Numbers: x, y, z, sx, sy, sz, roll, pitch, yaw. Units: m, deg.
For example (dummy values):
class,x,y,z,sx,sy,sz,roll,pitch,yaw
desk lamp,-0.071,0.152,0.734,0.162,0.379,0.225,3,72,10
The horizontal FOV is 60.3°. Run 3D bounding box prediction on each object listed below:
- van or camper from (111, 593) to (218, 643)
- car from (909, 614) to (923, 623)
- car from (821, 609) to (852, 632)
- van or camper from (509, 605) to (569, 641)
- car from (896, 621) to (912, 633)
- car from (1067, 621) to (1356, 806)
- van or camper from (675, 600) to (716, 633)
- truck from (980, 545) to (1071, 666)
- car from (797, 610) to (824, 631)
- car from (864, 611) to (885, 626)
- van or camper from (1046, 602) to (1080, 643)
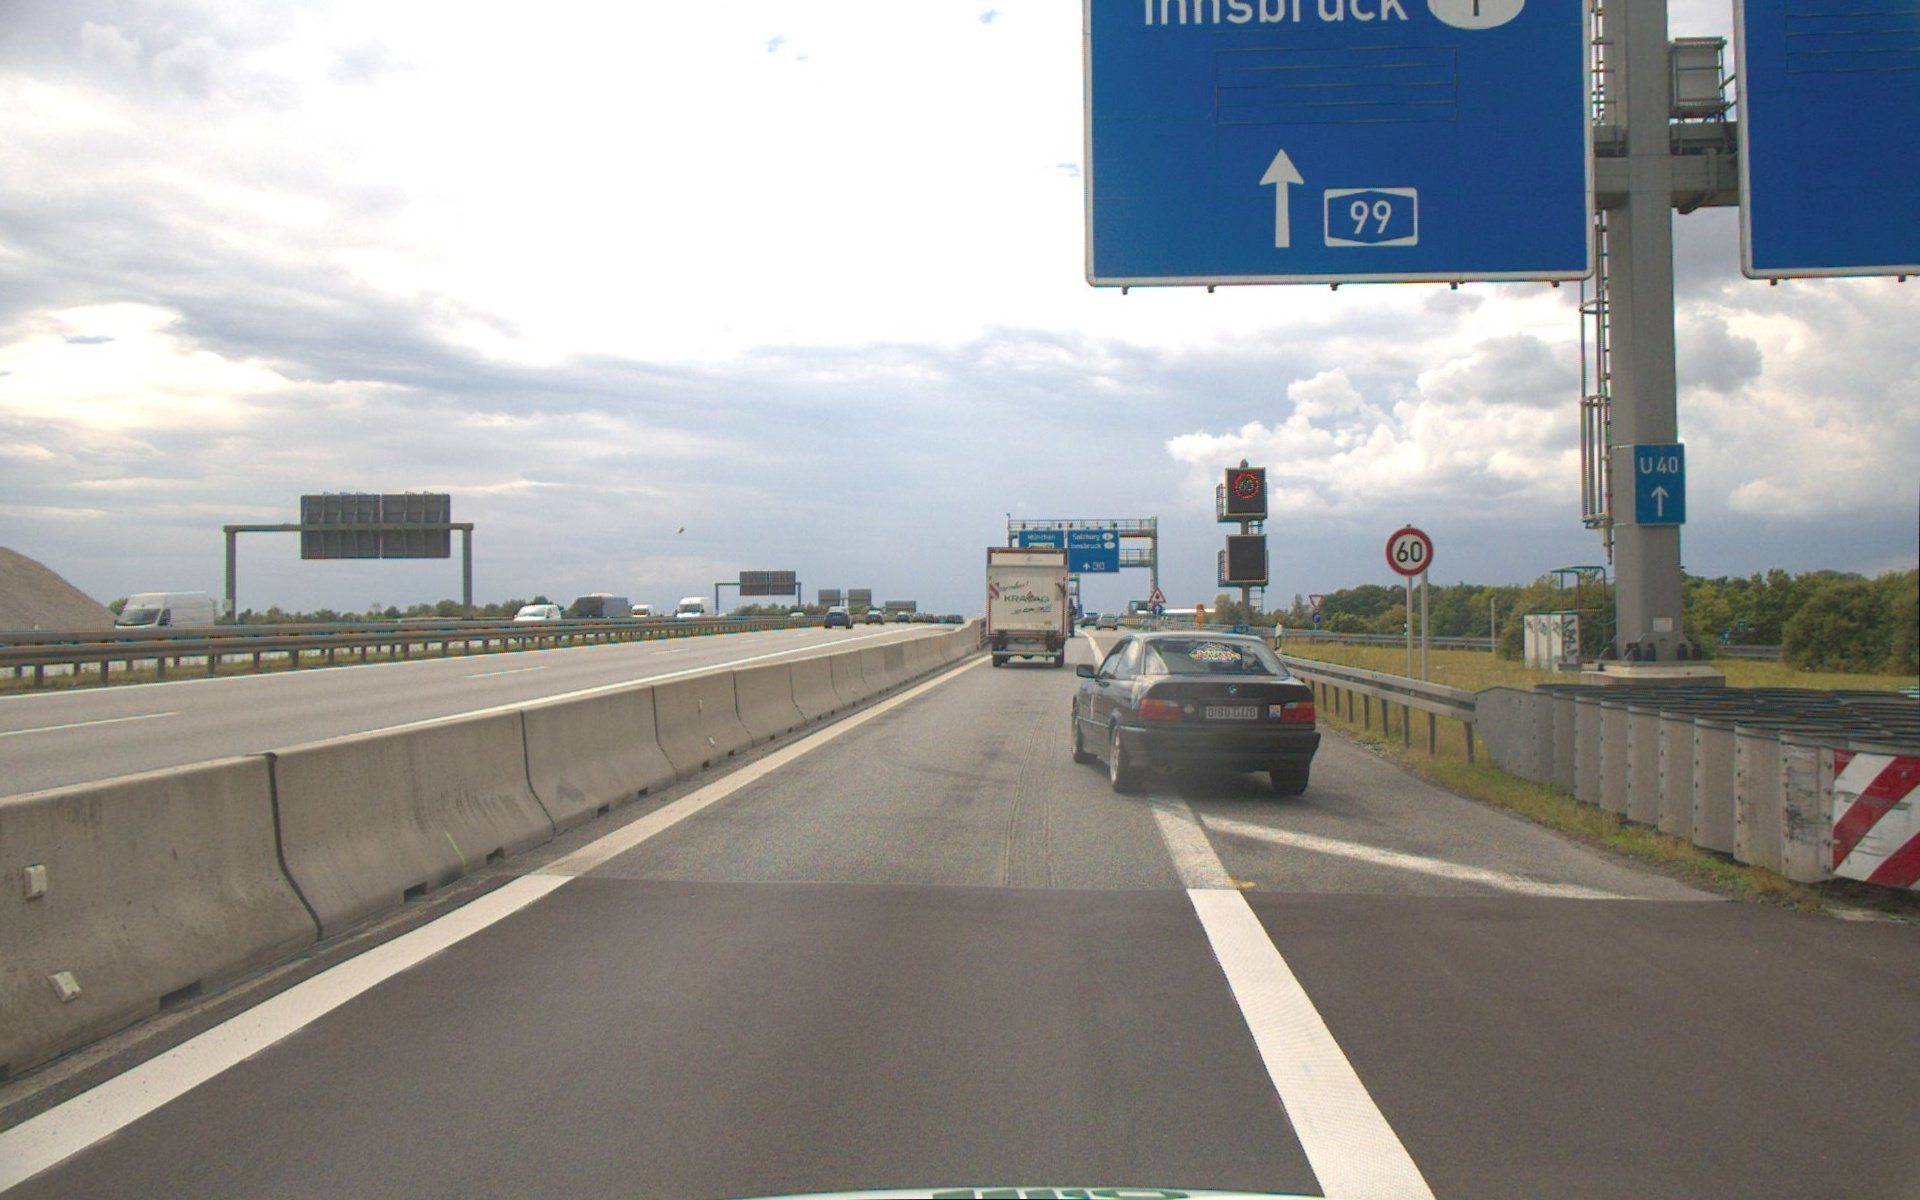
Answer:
class,x,y,z,sx,sy,sz,roll,pitch,yaw
van or camper,-36.834,0.827,76.777,2.142,2.210,5.809,0,0,0
car,-6.771,2.824,253.774,1.952,1.422,4.000,1,-1,0
car,-9.416,1.562,126.083,1.952,1.691,4.384,1,-1,1
van or camper,-22.647,1.226,89.086,1.952,1.861,4.348,1,-1,2
car,-7.207,3.456,212.654,1.952,1.422,4.000,1,-1,0
car,2.114,0.920,15.054,1.747,1.402,4.133,1,-1,-4
van or camper,-21.597,1.334,135.242,2.142,2.665,6.905,0,0,1
truck,1.868,0.181,46.521,2.354,3.144,6.372,1,-1,3
car,-12.482,1.723,138.357,1.632,1.736,4.002,1,-1,4
car,-8.921,1.929,172.665,1.952,1.568,4.000,1,-1,0
van or camper,6.180,1.329,99.740,1.958,2.412,6.128,0,-1,3
